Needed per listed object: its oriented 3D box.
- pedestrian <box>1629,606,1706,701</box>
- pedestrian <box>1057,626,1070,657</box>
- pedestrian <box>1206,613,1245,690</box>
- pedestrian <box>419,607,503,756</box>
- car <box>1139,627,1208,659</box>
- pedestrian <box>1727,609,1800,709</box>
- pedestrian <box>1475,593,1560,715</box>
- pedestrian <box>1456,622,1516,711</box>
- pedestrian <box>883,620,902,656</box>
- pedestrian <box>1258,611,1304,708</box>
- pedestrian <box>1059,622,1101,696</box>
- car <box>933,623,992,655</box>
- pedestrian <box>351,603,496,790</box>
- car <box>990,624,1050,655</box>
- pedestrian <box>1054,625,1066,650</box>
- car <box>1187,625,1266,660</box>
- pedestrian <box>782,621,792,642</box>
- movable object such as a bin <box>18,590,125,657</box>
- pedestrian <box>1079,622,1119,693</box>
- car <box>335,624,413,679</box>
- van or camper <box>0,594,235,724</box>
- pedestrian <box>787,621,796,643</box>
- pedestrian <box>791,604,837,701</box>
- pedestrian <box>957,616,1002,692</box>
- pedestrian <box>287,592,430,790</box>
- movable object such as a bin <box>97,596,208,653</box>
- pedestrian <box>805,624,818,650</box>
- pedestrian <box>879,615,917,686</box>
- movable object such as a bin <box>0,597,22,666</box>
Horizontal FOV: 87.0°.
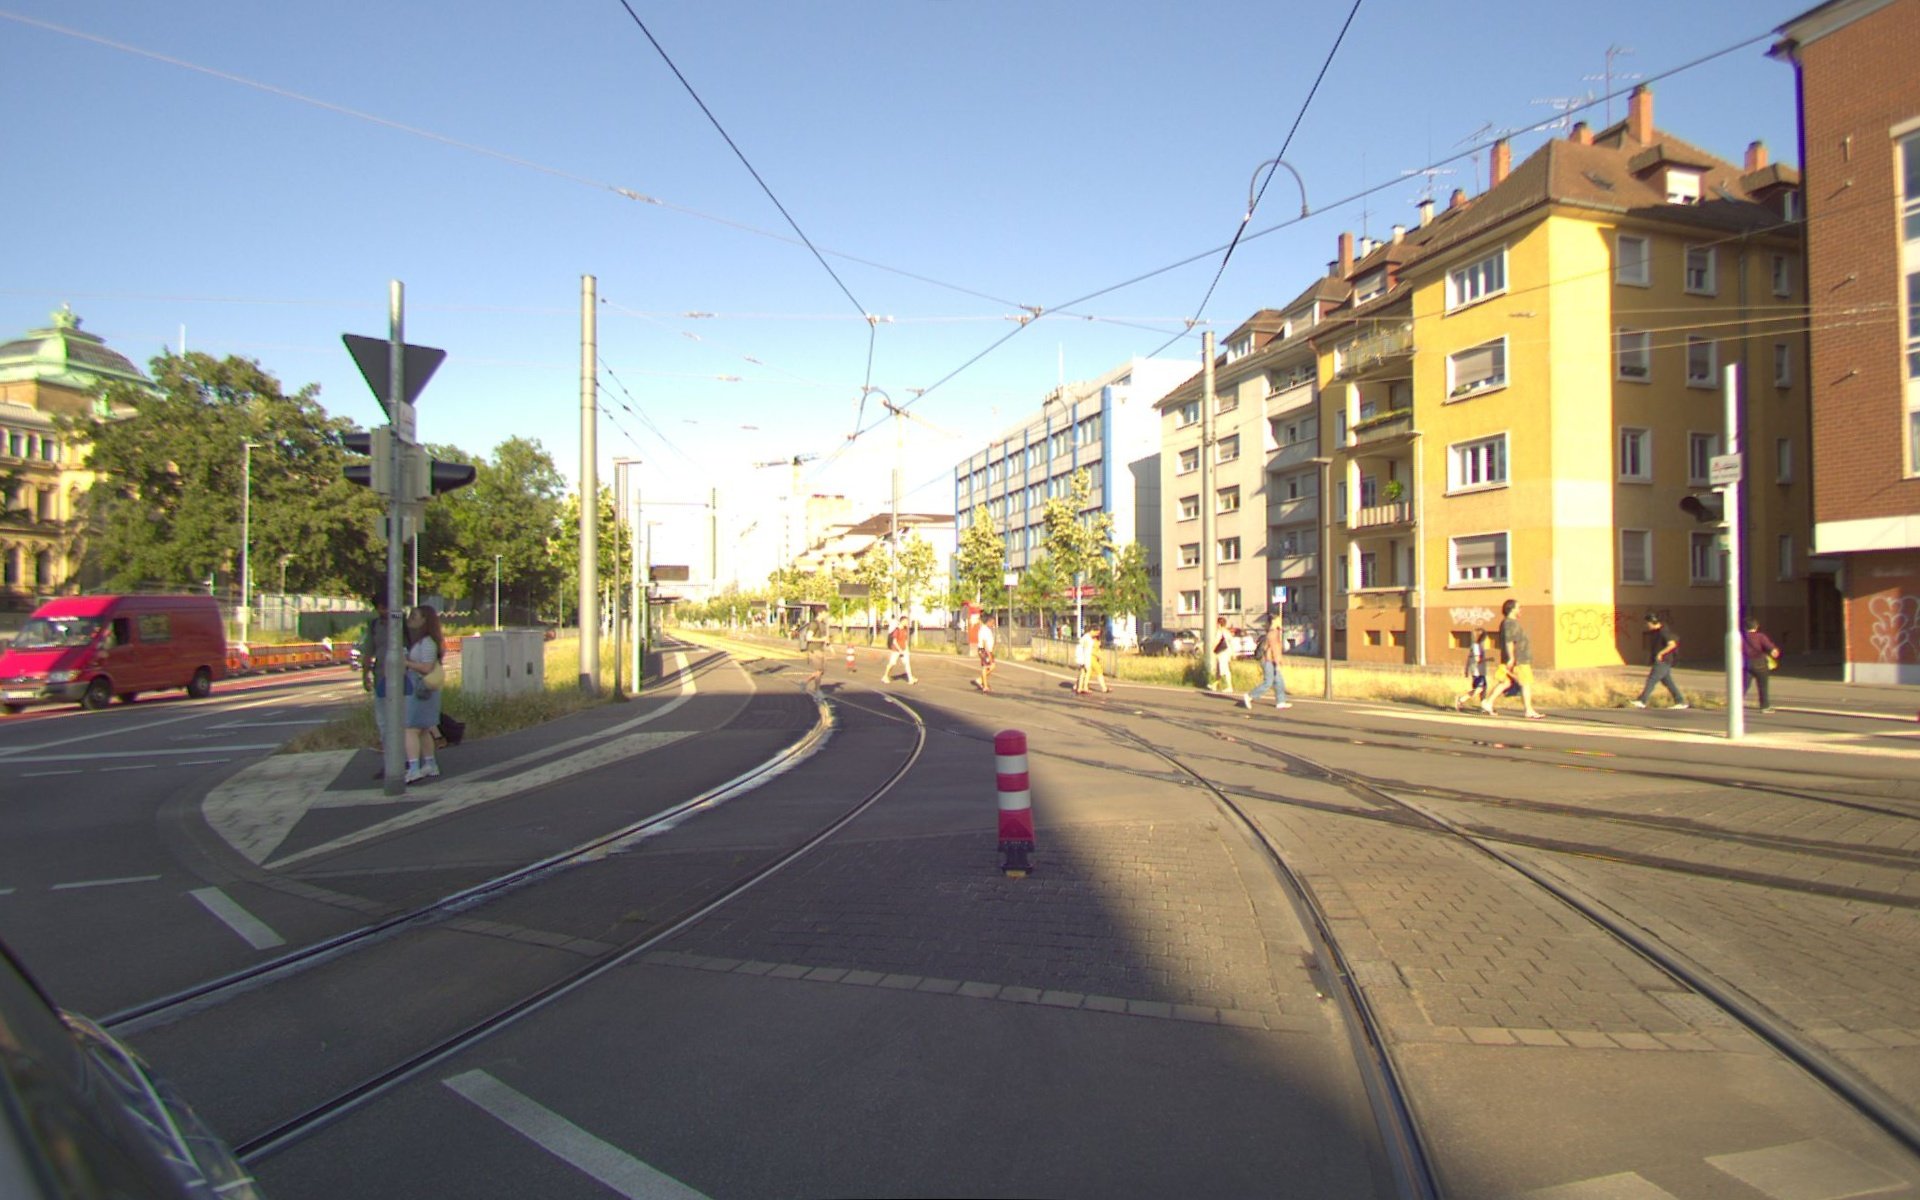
[{"bbox_3d":[12.406,0.921,17.746,0.672,1.596,0.844,-2,-1,-29],"label":"pedestrian"},{"bbox_3d":[6.289,2.524,61.595,0.553,1.861,0.725,-2,-1,-11],"label":"pedestrian"},{"bbox_3d":[5.670,1.095,21.661,0.676,1.596,0.839,-2,-1,9],"label":"pedestrian"},{"bbox_3d":[-5.821,0.930,11.847,0.774,1.653,0.621,-2,-1,-20],"label":"pedestrian"},{"bbox_3d":[11.037,2.216,52.627,1.855,1.519,3.685,-2,-1,-18],"label":"car"},{"bbox_3d":[13.276,0.959,16.745,0.785,1.600,0.602,-2,-1,28],"label":"pedestrian"},{"bbox_3d":[8.398,0.806,15.286,0.892,1.771,0.772,-2,-1,15],"label":"pedestrian"},{"bbox_3d":[8.319,1.061,16.016,0.601,1.371,0.595,-1,-5,7],"label":"pedestrian"},{"bbox_3d":[-3.198,1.787,47.894,0.775,1.685,0.621,-2,-1,-15],"label":"pedestrian"},{"bbox_3d":[5.314,0.975,16.730,0.615,1.547,0.782,-2,-1,22],"label":"pedestrian"},{"bbox_3d":[2.469,1.196,20.823,0.525,1.467,0.629,-3,-1,44],"label":"pedestrian"},{"bbox_3d":[0.086,2.007,53.029,1.855,1.519,3.955,-2,-1,-18],"label":"car"},{"bbox_3d":[-5.031,0.868,9.521,0.783,1.653,0.893,-2,-1,24],"label":"pedestrian"},{"bbox_3d":[3.181,2.082,54.211,1.855,1.519,3.955,-2,-1,-18],"label":"car"},{"bbox_3d":[7.194,2.701,72.966,0.635,1.759,0.600,-2,-1,-11],"label":"pedestrian"},{"bbox_3d":[12.604,1.966,48.010,1.855,1.519,3.685,-2,-1,-18],"label":"car"},{"bbox_3d":[-13.947,2.531,81.450,0.649,1.705,0.774,-2,-1,-15],"label":"pedestrian"},{"bbox_3d":[-47.256,1.245,54.012,1.967,3.355,5.388,-2,-1,-13],"label":"movable object such as a bin"},{"bbox_3d":[2.922,1.209,21.283,0.525,1.442,0.629,-3,-1,45],"label":"pedestrian"},{"bbox_3d":[-23.921,2.053,41.454,1.966,2.029,4.012,-2,-1,-19],"label":"car"},{"bbox_3d":[-19.343,1.232,23.179,1.968,2.548,5.925,-2,-1,-9],"label":"van or camper"},{"bbox_3d":[-13.200,2.481,79.255,0.649,1.705,0.774,-2,-1,-12],"label":"pedestrian"},{"bbox_3d":[-2.913,1.027,20.099,0.775,1.878,0.621,-2,-1,-15],"label":"pedestrian"},{"bbox_3d":[0.419,1.187,21.896,0.619,1.561,0.777,-6,-10,42],"label":"pedestrian"},{"bbox_3d":[-5.845,0.860,9.862,0.783,1.815,0.893,-3,-3,23],"label":"pedestrian"},{"bbox_3d":[-43.660,1.301,54.948,1.968,2.837,5.877,-2,-1,-8],"label":"movable object such as a bin"},{"bbox_3d":[-10.228,2.548,69.617,0.649,1.705,0.774,-2,-1,-20],"label":"pedestrian"},{"bbox_3d":[-1.536,1.248,25.157,0.775,1.711,0.621,-2,-1,-15],"label":"pedestrian"},{"bbox_3d":[-38.398,1.252,38.338,1.967,2.704,5.026,-2,-1,-13],"label":"movable object such as a bin"}]
